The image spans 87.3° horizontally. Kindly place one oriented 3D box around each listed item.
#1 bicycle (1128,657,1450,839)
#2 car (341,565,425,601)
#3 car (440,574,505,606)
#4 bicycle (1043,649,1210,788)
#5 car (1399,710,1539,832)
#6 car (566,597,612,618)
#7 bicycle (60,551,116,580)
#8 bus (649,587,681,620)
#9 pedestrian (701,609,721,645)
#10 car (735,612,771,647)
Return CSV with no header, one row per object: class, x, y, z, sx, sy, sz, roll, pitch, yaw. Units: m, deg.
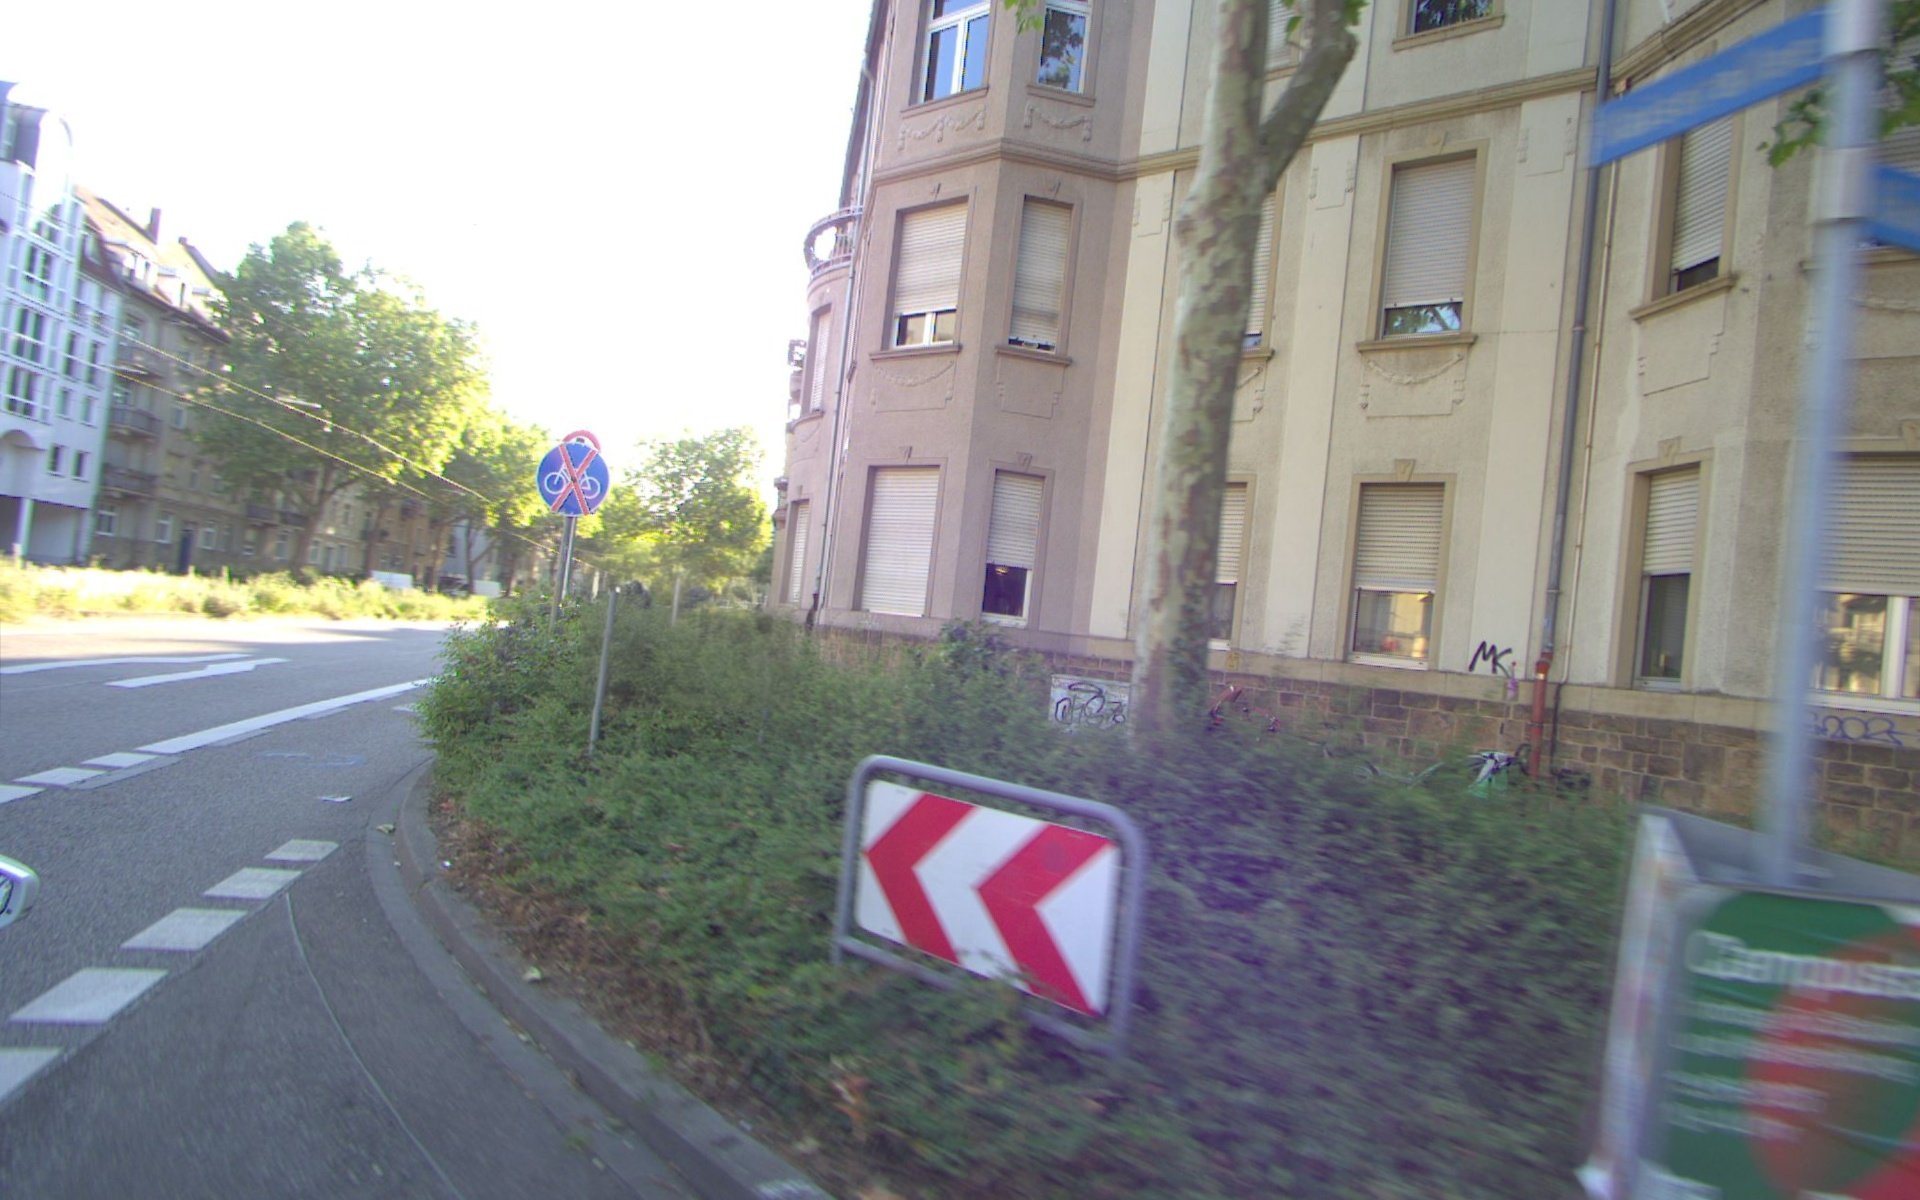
bicycle,3.538,1.535,11.045,3.109,1.488,0.951,4,-3,34
car,-44.550,-1.257,77.761,1.696,2.090,5.232,5,-3,36
car,-49.632,-0.996,102.510,2.094,2.558,5.494,5,-3,37
bicycle,1.981,1.399,12.189,1.903,1.411,0.370,5,-2,37
car,5.066,1.661,10.011,1.049,0.961,0.923,4,1,36
car,-64.032,1.261,173.546,6.891,2.708,2.169,8,-3,-32
bicycle,-41.774,-1.652,48.225,0.746,1.043,1.898,12,-3,3
bus,-34.485,0.507,117.906,2.797,3.271,8.170,7,-3,-13
pedestrian,-13.597,1.471,55.004,0.818,1.833,1.149,6,-2,-12
car,-13.617,1.982,66.406,1.866,1.970,4.899,7,-3,-8
